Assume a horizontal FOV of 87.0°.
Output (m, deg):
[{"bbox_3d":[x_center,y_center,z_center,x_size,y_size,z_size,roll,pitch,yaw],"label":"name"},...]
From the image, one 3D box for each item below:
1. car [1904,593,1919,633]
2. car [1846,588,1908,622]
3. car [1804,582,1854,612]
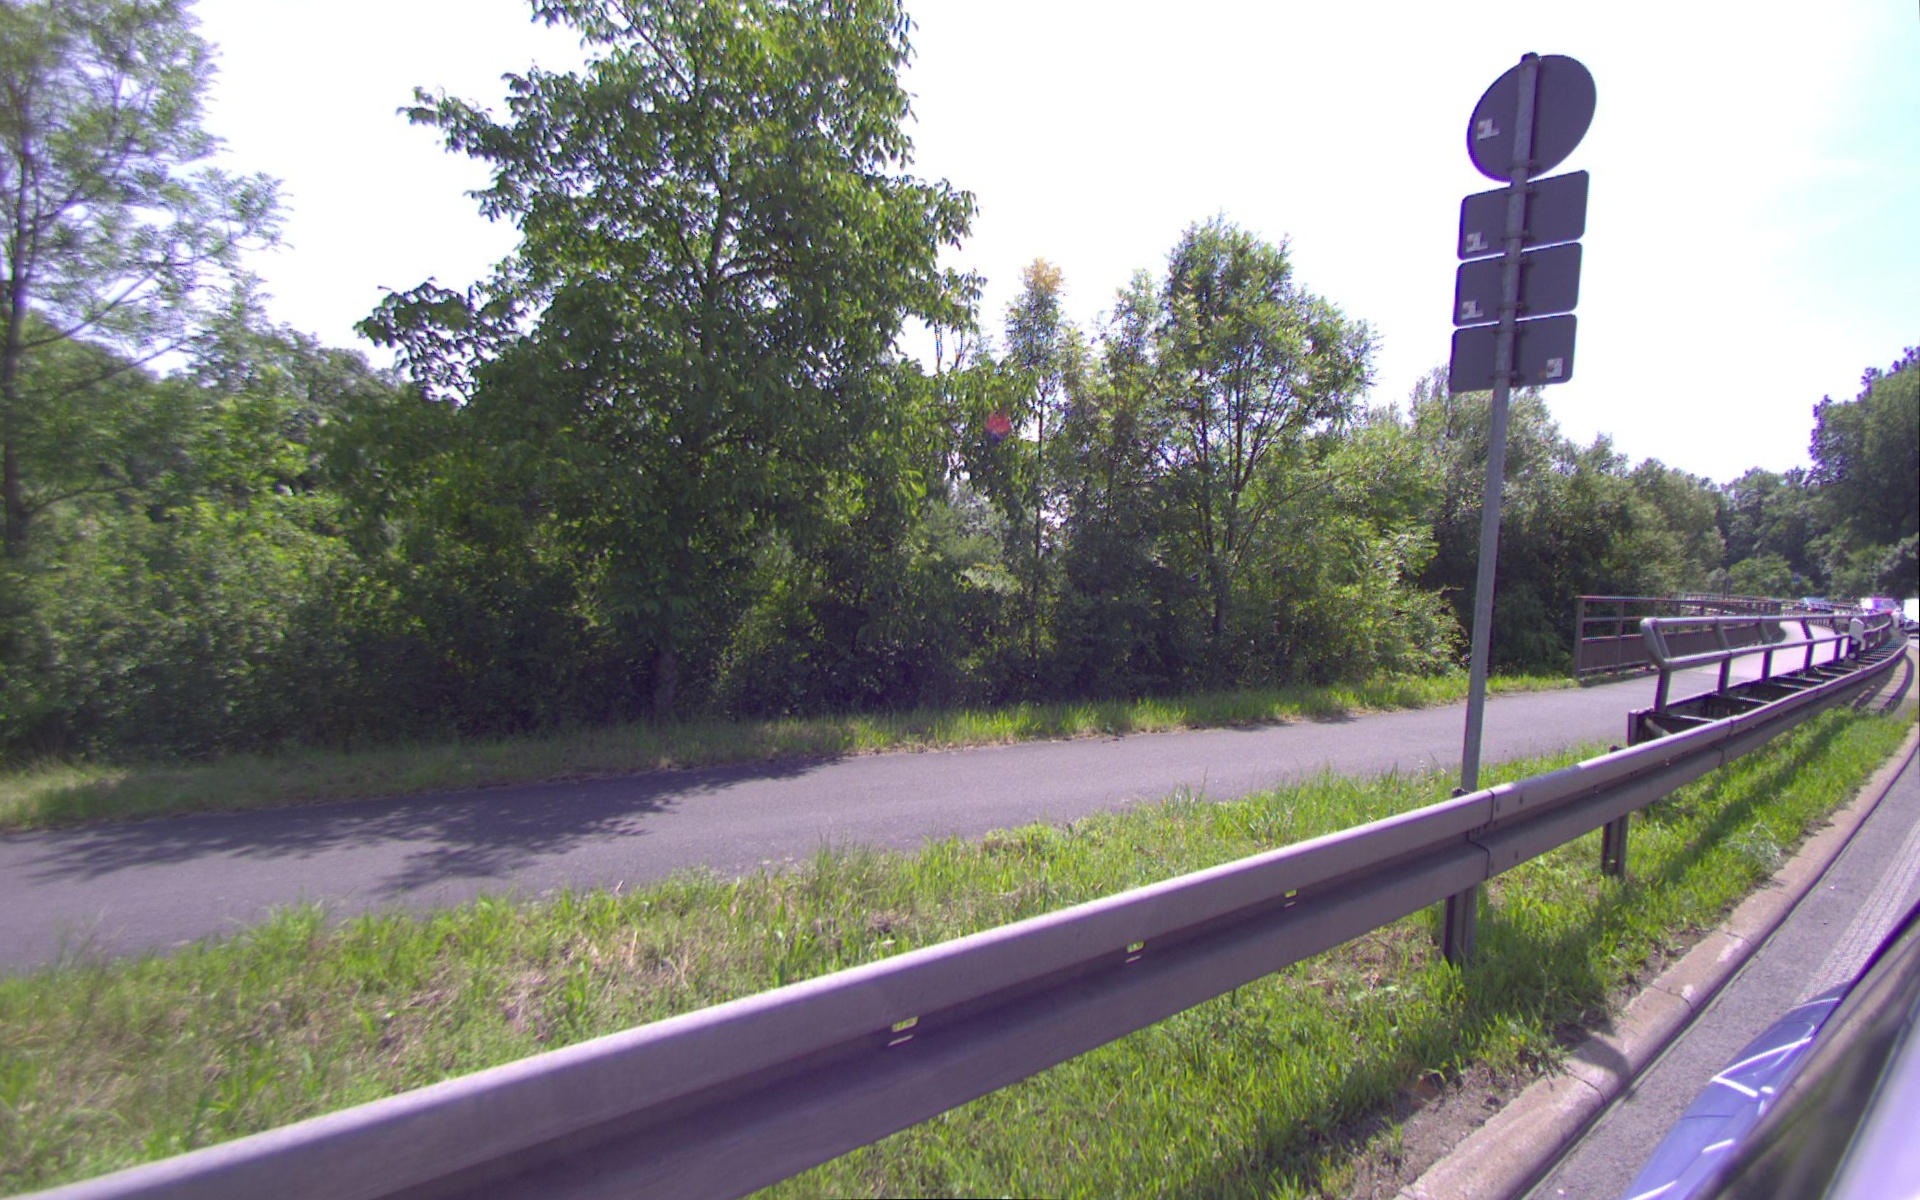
[{"bbox_3d":[41.892,0.567,43.202,1.900,1.668,3.897,0,0,37],"label":"car"},{"bbox_3d":[50.250,0.258,55.535,1.986,1.798,3.951,0,0,34],"label":"car"},{"bbox_3d":[61.582,-0.247,71.760,1.983,2.039,3.958,0,1,30],"label":"car"}]
